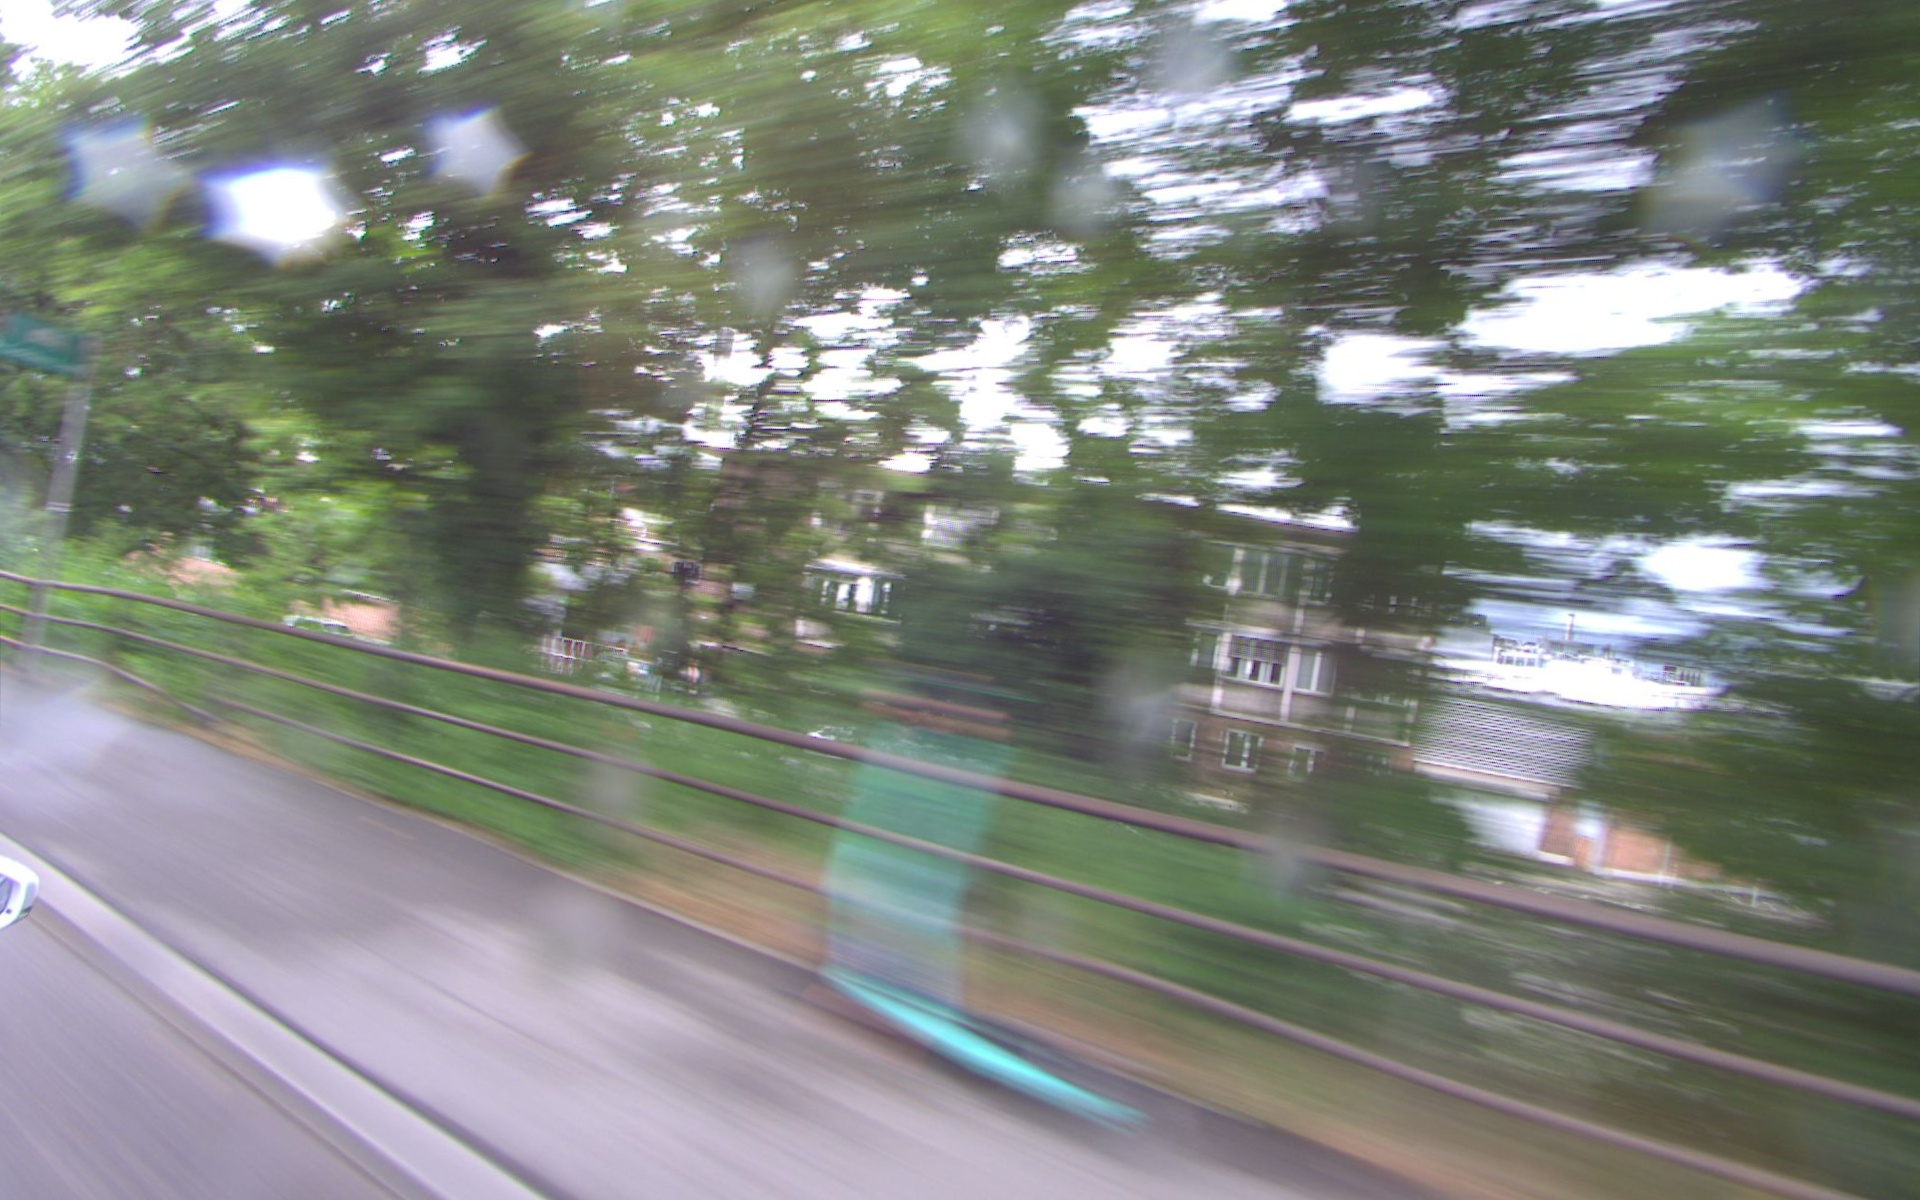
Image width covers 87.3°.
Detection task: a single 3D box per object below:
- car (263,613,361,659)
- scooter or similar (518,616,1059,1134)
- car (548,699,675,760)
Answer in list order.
[{"bbox_3d":[-29.016,1.606,45.064,3.786,1.503,1.704,7,-2,22],"label":"car"},{"bbox_3d":[-0.657,0.786,3.468,1.814,1.247,0.538,6,-1,32],"label":"scooter or similar"},{"bbox_3d":[-10.075,3.762,29.336,1.487,1.412,3.417,8,-3,21],"label":"car"}]
